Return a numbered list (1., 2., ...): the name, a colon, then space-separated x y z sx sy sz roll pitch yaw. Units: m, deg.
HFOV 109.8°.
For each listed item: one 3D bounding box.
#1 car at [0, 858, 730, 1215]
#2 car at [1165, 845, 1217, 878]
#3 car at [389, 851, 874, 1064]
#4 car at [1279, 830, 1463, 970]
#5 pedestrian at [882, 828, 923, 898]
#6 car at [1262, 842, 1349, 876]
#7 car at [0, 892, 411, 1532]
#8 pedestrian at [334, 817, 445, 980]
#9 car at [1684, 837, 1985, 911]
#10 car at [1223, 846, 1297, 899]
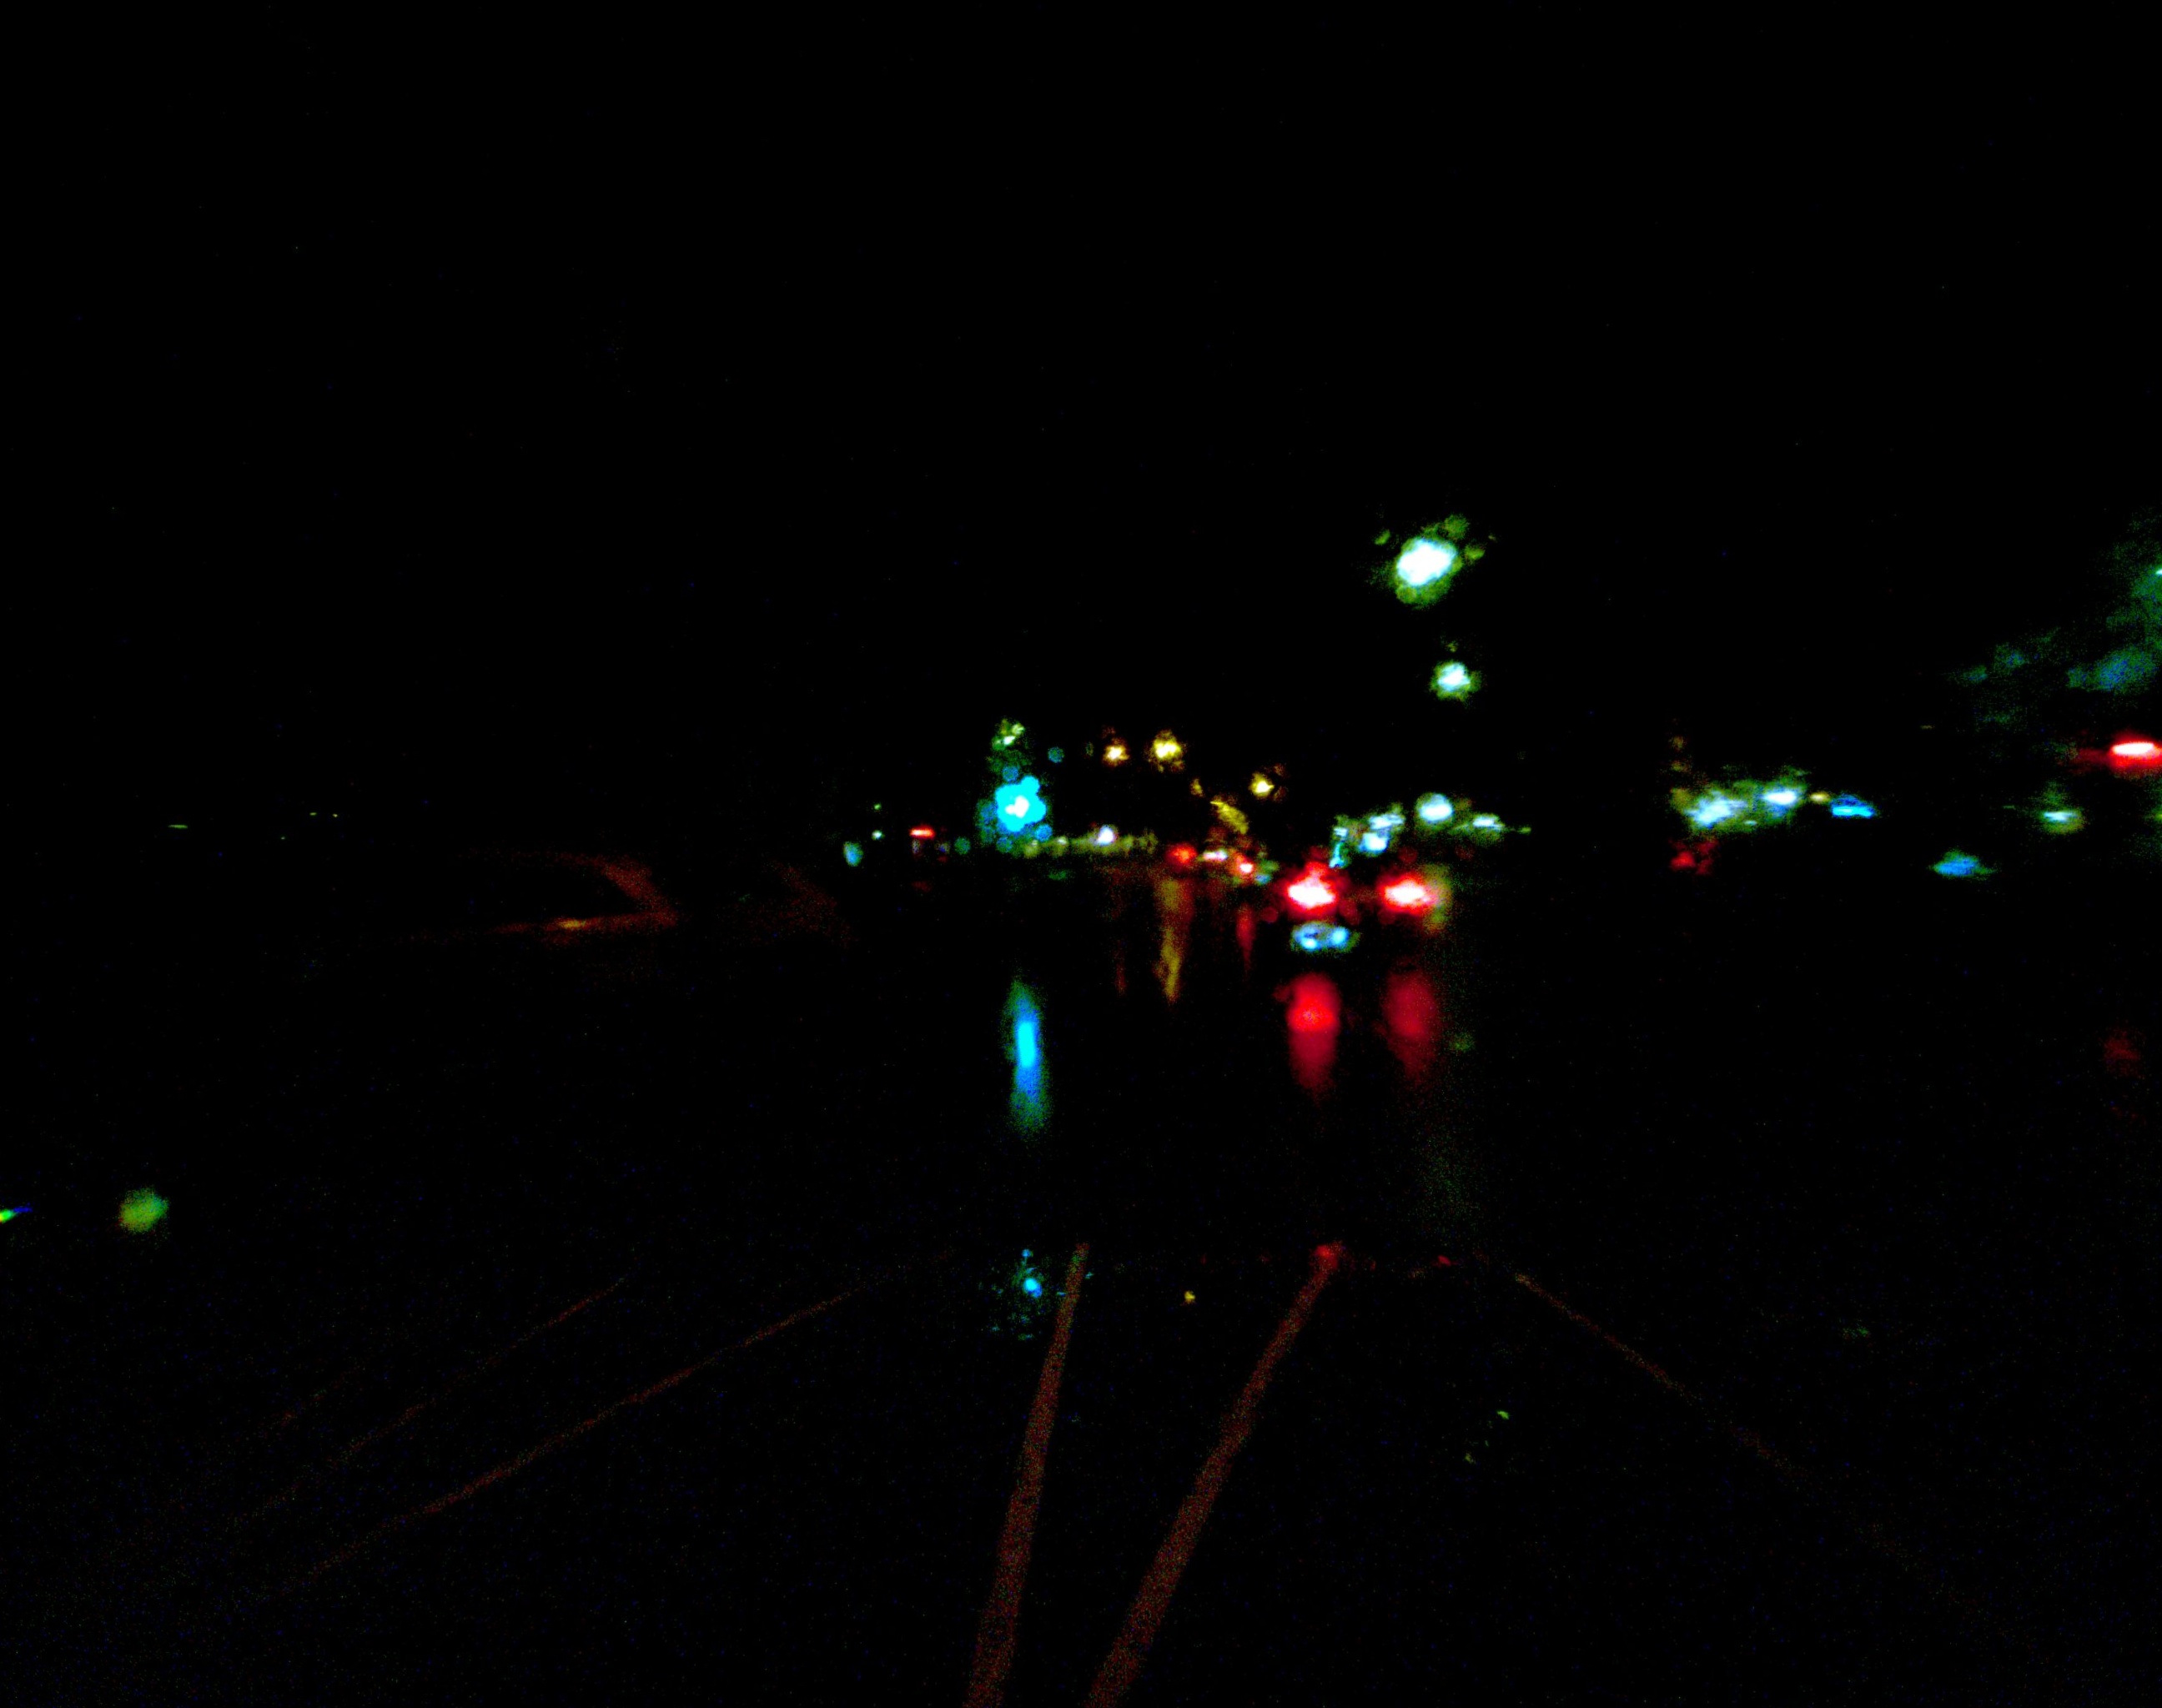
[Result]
1. car: -4.084 0.829 4.706 3.402 1.583 1.591 0 1 -28
2. car: 5.014 0.301 34.993 1.624 1.417 4.205 -1 1 -2
3. car: -4.058 0.783 7.377 3.606 1.552 1.707 -1 1 -30
4. car: 4.242 0.560 11.818 1.809 1.759 4.274 -1 1 9
5. pedestrian: -4.916 0.250 20.946 0.805 1.895 0.885 1 -1 8
6. car: 10.004 0.180 34.317 1.999 1.417 5.065 -1 1 -5
7. car: -4.471 0.913 1.758 4.121 1.483 1.591 0 1 -29
8. pedestrian: -7.306 0.457 8.050 0.574 1.654 0.601 1 -1 8
9. car: 17.291 0.351 17.686 2.004 1.418 4.716 -1 2 -38
10. car: 5.378 0.500 23.278 1.826 1.417 4.208 -1 1 8
